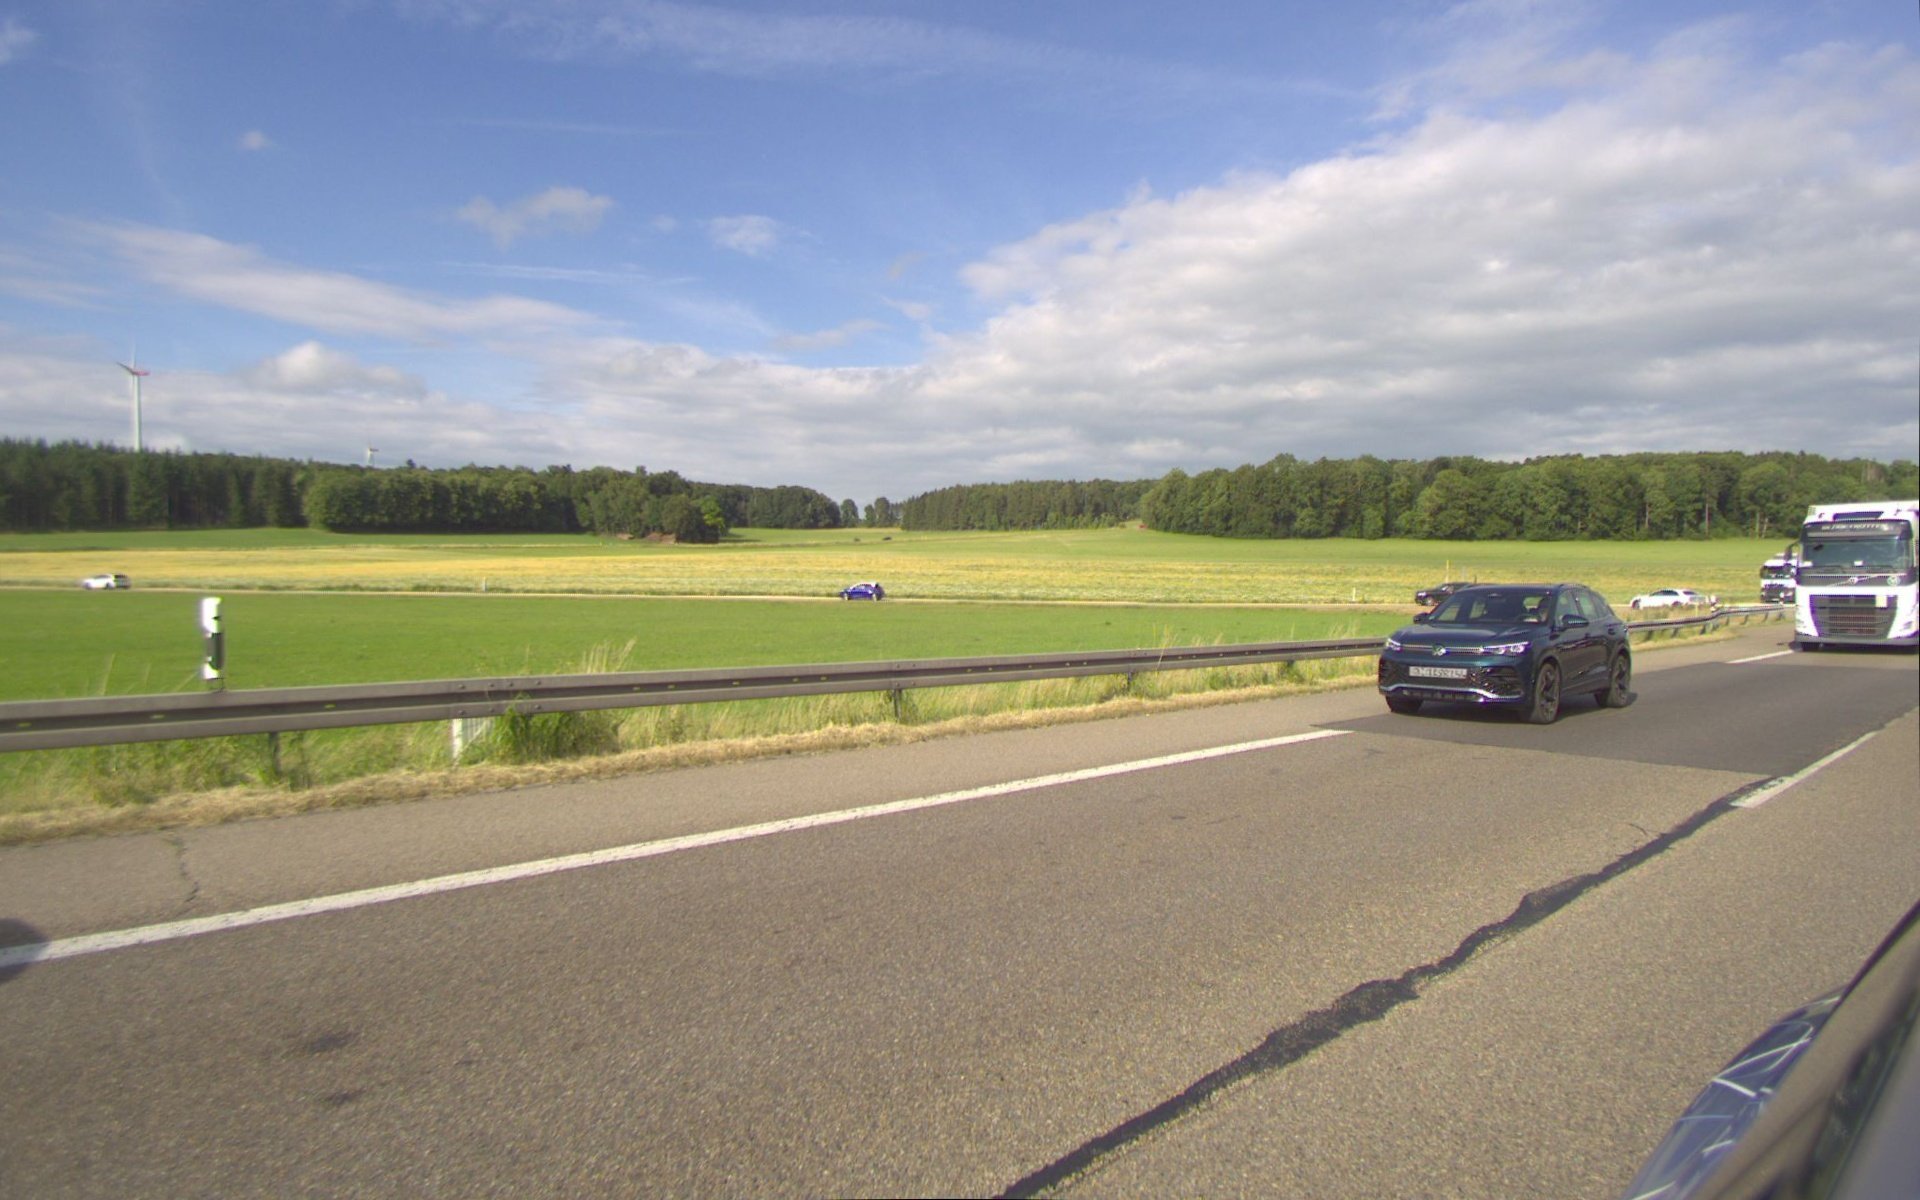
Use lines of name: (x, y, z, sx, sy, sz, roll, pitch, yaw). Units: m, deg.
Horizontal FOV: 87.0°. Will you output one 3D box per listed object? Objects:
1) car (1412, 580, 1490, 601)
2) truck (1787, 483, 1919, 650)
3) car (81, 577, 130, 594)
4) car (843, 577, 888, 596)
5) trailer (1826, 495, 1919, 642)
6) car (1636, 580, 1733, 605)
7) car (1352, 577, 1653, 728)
car: (37.589, -0.710, 77.604, 5.038, 1.576, 1.995, 0, 0, 10)
truck: (25.044, -0.852, 27.420, 6.384, 4.040, 2.841, -1, 0, -39)
car: (-86.832, -1.451, 102.901, 3.944, 1.638, 1.990, 0, 0, 17)
car: (-8.022, -1.166, 86.096, 3.506, 1.549, 1.719, 0, 0, 12)
trailer: (30.643, -0.951, 32.031, 11.910, 4.032, 2.825, -1, 0, -39)
car: (48.777, -0.509, 68.258, 1.958, 1.565, 5.091, -1, 1, -21)
car: (7.012, 0.529, 12.940, 4.045, 1.616, 1.998, -1, 1, -39)
